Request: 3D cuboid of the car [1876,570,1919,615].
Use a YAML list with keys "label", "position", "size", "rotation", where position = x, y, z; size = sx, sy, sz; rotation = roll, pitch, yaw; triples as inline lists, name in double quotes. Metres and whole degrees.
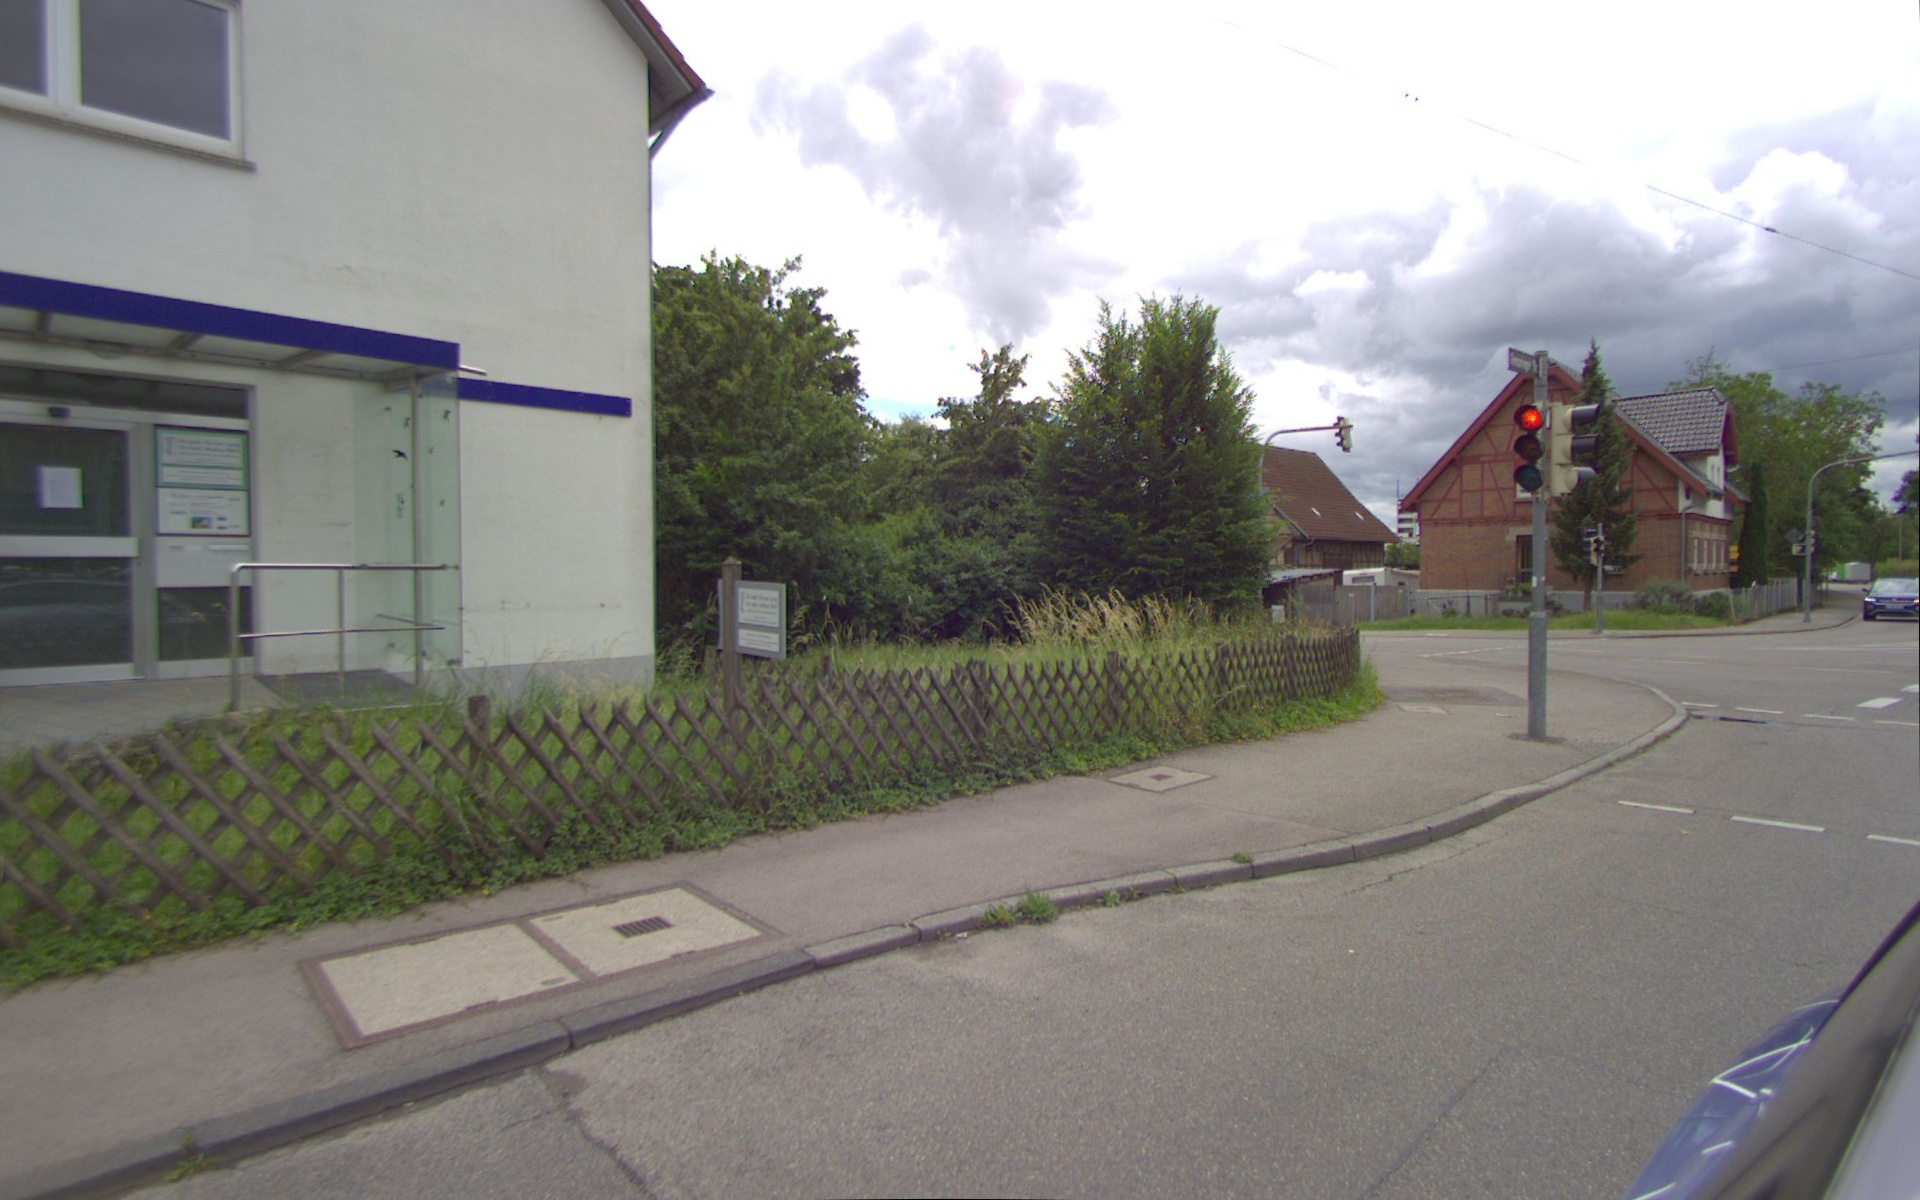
- label: "car"
  position: [34.939, -0.312, 37.027]
  size: [3.936, 1.537, 1.923]
  rotation: [-3, 3, -45]
